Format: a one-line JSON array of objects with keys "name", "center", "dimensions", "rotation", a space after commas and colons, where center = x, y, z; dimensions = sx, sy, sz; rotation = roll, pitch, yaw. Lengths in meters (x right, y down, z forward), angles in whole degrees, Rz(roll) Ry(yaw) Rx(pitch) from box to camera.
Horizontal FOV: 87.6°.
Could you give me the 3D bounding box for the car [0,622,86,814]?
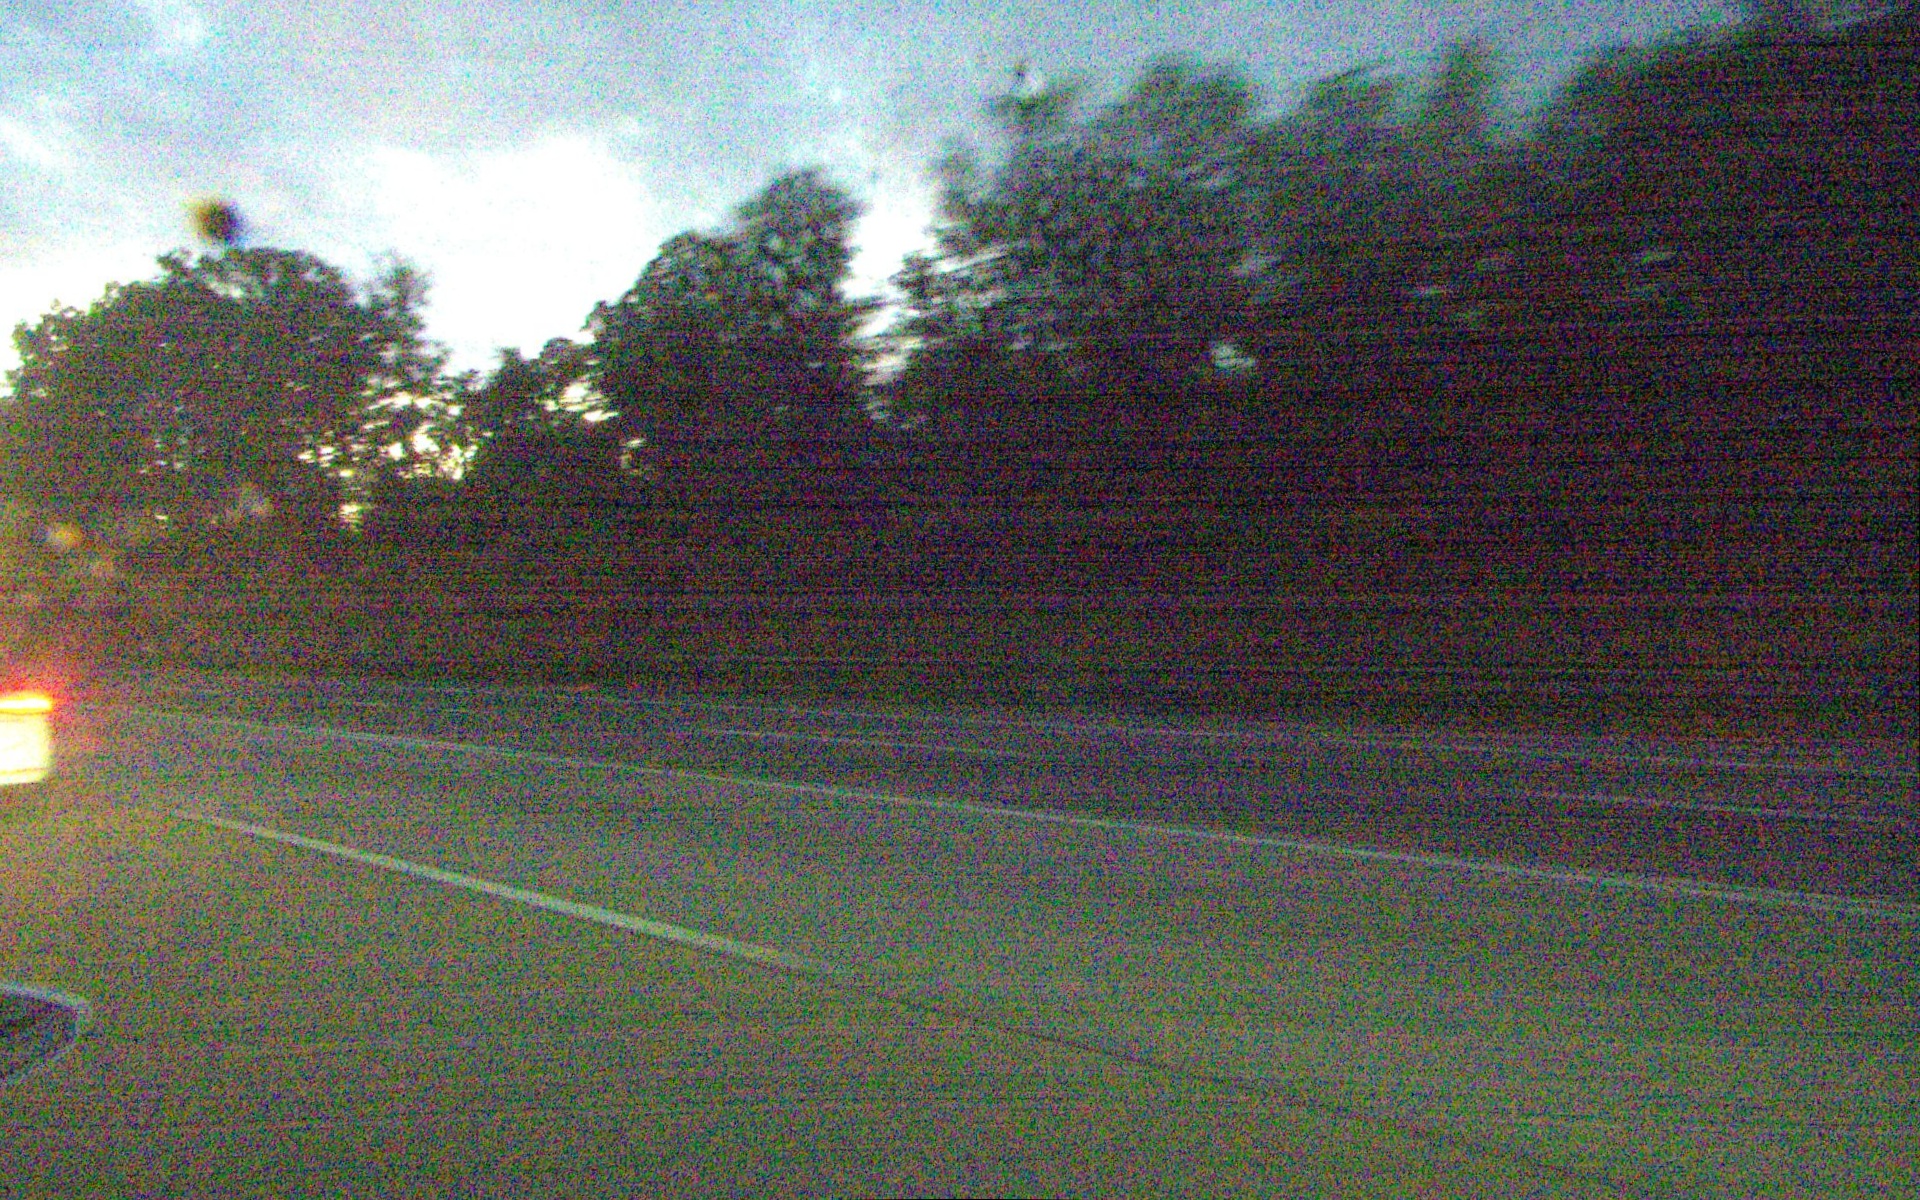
[{"name": "car", "center": [-9.776, 0.930, 8.857], "dimensions": [5.060, 1.485, 1.805], "rotation": [0, -1, 33]}]
